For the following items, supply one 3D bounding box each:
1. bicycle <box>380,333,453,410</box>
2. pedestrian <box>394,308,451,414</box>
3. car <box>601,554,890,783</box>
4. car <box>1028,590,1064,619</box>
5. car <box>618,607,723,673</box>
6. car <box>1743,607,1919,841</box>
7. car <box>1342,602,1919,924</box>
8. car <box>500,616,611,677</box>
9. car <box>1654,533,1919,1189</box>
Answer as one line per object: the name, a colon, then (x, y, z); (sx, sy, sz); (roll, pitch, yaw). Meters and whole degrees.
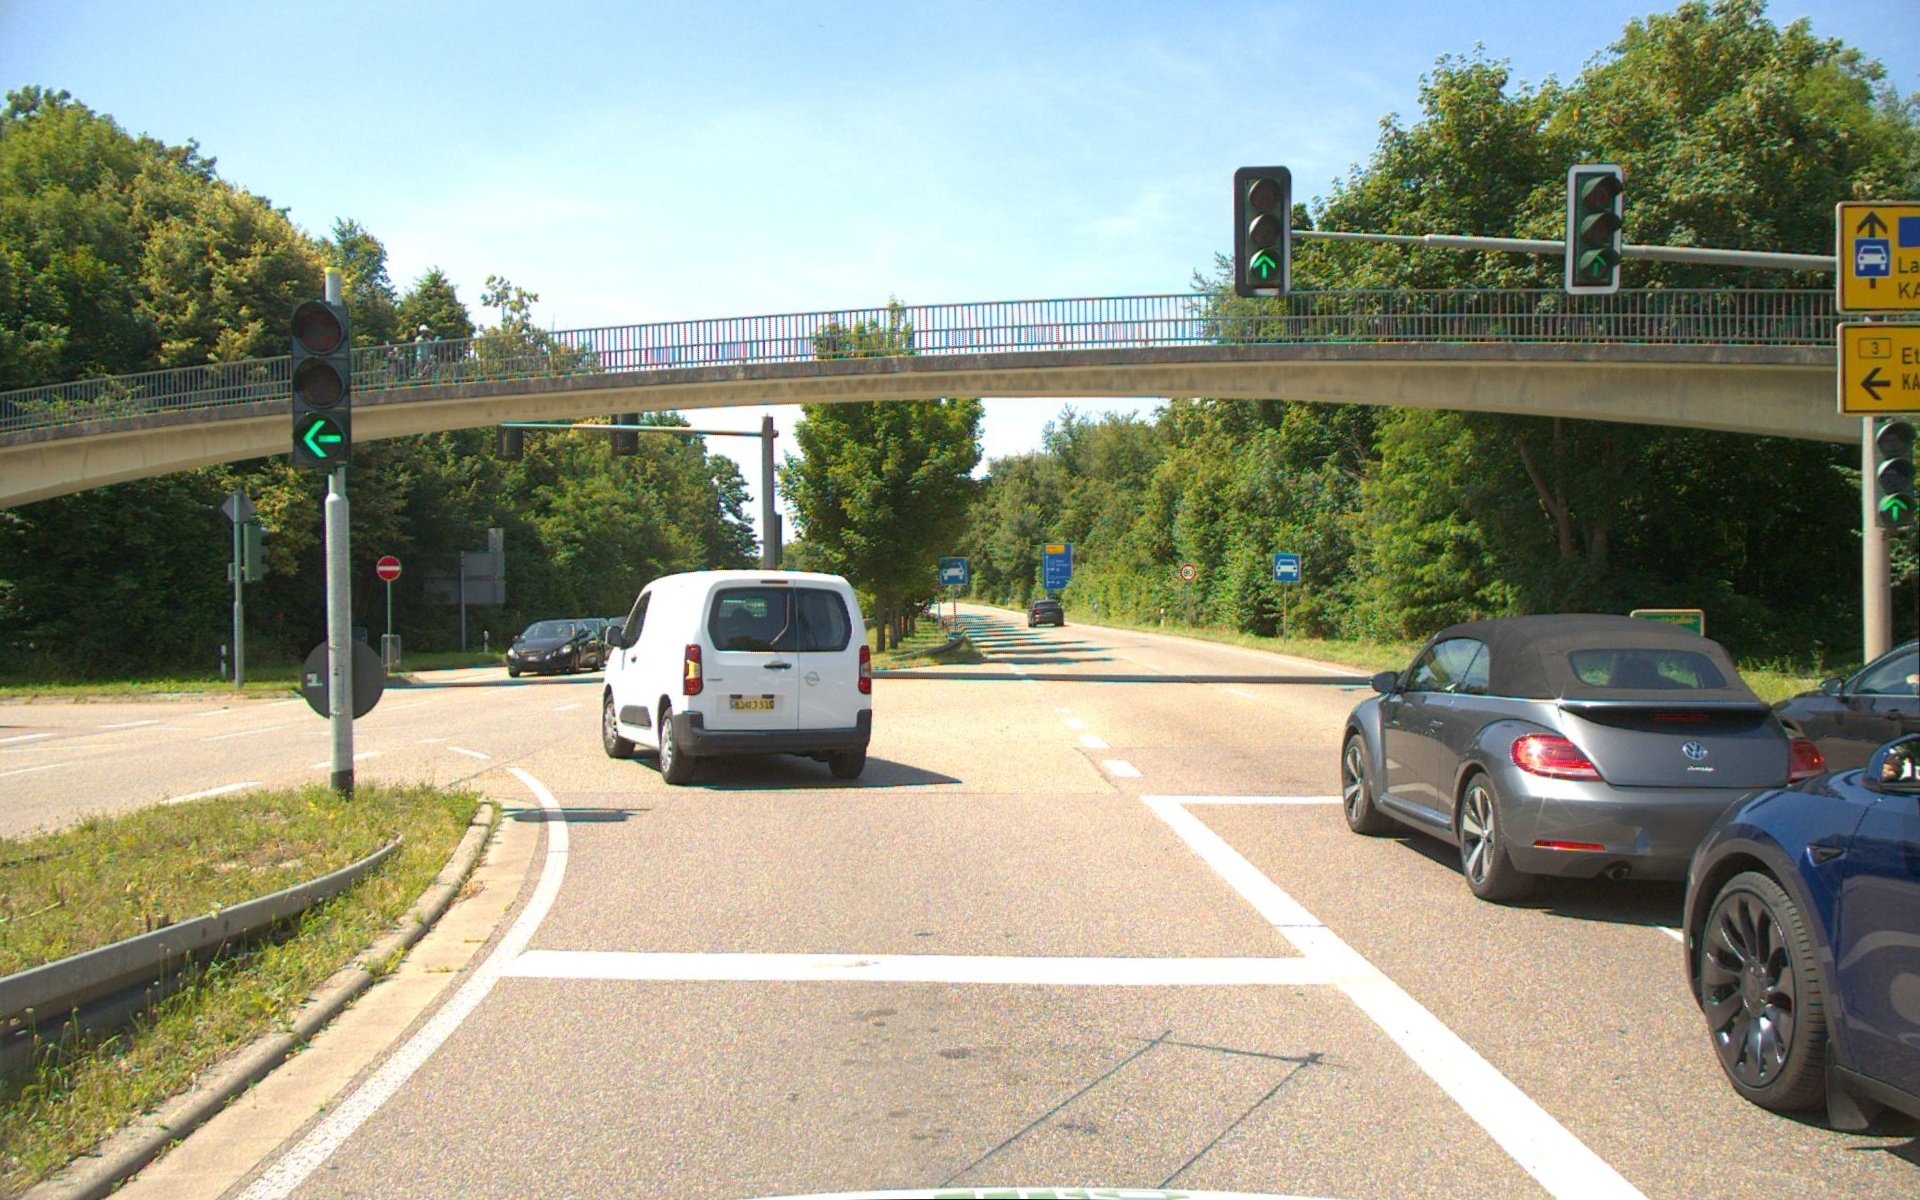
bicycle: (-12.050, -5.058, 36.675); (1.494, 1.500, 0.470); (-3, -2, 16)
pedestrian: (-12.016, -5.324, 37.003); (0.765, 2.177, 0.932); (-3, -2, 15)
car: (-2.149, 0.612, 15.583); (1.823, 1.858, 3.955); (1, -2, -21)
car: (5.298, 0.285, 102.056); (2.000, 1.728, 5.086); (-1, 0, 1)
car: (-7.303, 0.980, 42.067); (1.953, 1.550, 4.027); (-2, 0, 0)
car: (7.153, 0.821, 10.939); (1.861, 1.503, 4.380); (1, 0, 0)
car: (3.661, 0.775, 9.814); (1.861, 1.503, 3.938); (1, 0, 0)
car: (-10.868, 1.213, 44.700); (1.967, 1.486, 4.055); (-2, 0, 0)
car: (3.400, 0.677, 3.522); (1.862, 1.673, 4.519); (1, 0, -1)
